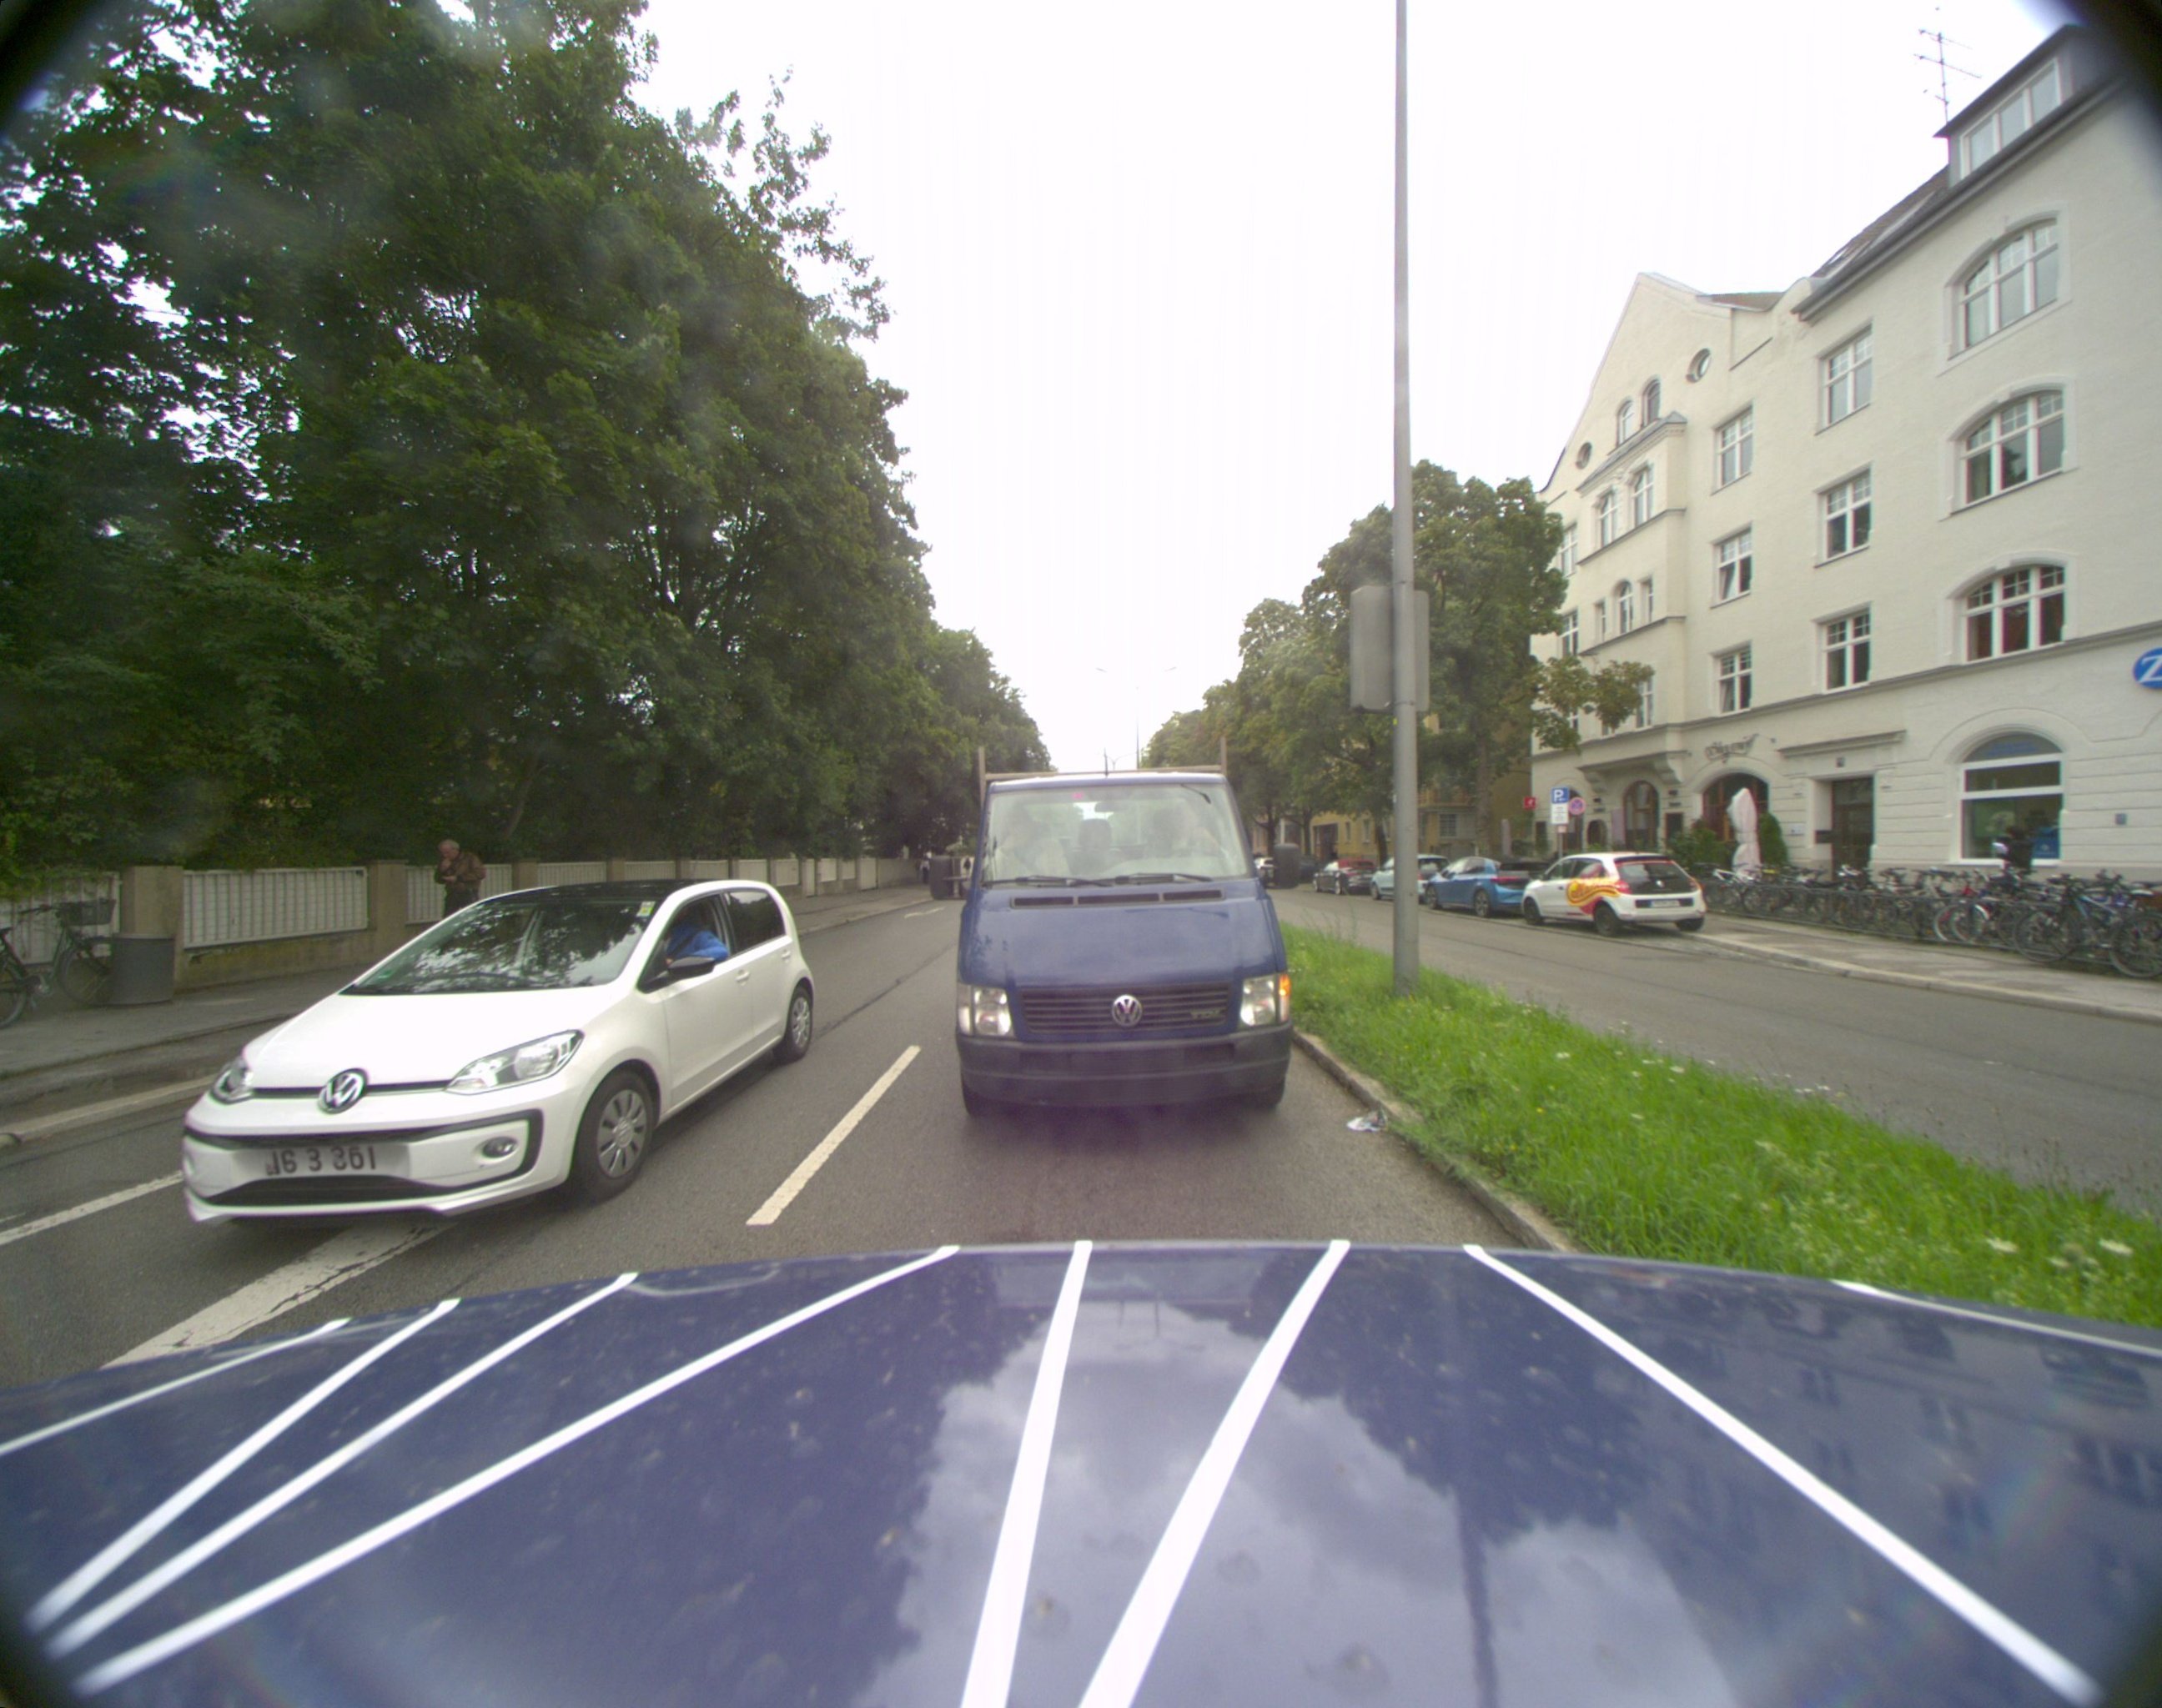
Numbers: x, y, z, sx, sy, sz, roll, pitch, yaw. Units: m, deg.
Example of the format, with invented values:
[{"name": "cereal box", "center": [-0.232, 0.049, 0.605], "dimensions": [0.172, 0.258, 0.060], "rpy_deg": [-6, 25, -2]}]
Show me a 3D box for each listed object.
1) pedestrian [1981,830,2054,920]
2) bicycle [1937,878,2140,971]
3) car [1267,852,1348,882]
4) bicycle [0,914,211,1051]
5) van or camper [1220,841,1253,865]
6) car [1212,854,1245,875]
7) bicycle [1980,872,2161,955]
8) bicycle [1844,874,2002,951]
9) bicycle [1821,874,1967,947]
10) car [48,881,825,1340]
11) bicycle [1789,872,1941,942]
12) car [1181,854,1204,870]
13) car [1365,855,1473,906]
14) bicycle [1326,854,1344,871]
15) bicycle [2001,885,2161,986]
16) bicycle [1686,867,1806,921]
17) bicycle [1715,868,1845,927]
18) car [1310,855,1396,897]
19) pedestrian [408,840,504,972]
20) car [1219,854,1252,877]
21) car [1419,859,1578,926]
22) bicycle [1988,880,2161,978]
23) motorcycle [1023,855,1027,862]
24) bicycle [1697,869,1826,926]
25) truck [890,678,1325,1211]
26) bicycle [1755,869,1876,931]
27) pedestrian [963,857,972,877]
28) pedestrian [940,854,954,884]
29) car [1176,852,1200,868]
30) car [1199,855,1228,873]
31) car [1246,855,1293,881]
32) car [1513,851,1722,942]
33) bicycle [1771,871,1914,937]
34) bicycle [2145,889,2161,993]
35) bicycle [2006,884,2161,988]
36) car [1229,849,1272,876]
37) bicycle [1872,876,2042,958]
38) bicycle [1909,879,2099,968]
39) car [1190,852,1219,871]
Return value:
[{"name": "pedestrian", "center": [17.291, 0.376, 14.050], "dimensions": [0.422, 1.622, 0.783], "rpy_deg": [-1, 1, 7]}, {"name": "bicycle", "center": [12.841, 0.897, 10.262], "dimensions": [0.331, 1.109, 1.678], "rpy_deg": [-1, 0, -23]}, {"name": "car", "center": [12.287, 0.712, 41.365], "dimensions": [3.899, 1.455, 1.732], "rpy_deg": [-2, 0, -1]}, {"name": "bicycle", "center": [-9.848, 1.201, 7.296], "dimensions": [0.624, 1.084, 2.026], "rpy_deg": [-1, 0, 0]}, {"name": "van or camper", "center": [17.240, -0.149, 84.788], "dimensions": [2.351, 2.564, 6.851], "rpy_deg": [-1, 0, 1]}, {"name": "car", "center": [11.389, 0.769, 58.906], "dimensions": [1.731, 1.552, 4.057], "rpy_deg": [-1, 0, 1]}, {"name": "bicycle", "center": [14.770, 0.848, 11.365], "dimensions": [0.331, 1.109, 1.678], "rpy_deg": [-1, 0, -23]}, {"name": "bicycle", "center": [13.446, 0.903, 12.199], "dimensions": [0.331, 1.109, 1.678], "rpy_deg": [-1, 0, -23]}, {"name": "bicycle", "center": [13.642, 0.917, 12.815], "dimensions": [0.331, 1.109, 1.678], "rpy_deg": [-1, 0, -23]}, {"name": "car", "center": [-2.997, 1.020, 4.625], "dimensions": [1.647, 1.553, 3.586], "rpy_deg": [-1, 0, 0]}, {"name": "bicycle", "center": [13.820, 0.903, 13.470], "dimensions": [0.331, 1.109, 1.871], "rpy_deg": [-1, 0, -23]}, {"name": "car", "center": [11.100, 0.753, 75.721], "dimensions": [1.696, 1.446, 4.492], "rpy_deg": [-1, 0, 1]}, {"name": "car", "center": [10.896, 0.795, 24.818], "dimensions": [1.815, 1.498, 3.960], "rpy_deg": [-1, 0, 1]}, {"name": "bicycle", "center": [19.330, 0.643, 57.889], "dimensions": [0.771, 1.215, 1.930], "rpy_deg": [-1, 0, 0]}, {"name": "bicycle", "center": [12.405, 0.955, 9.144], "dimensions": [0.331, 1.109, 1.678], "rpy_deg": [-1, 0, -23]}, {"name": "bicycle", "center": [14.688, 0.857, 16.848], "dimensions": [0.460, 1.109, 1.961], "rpy_deg": [-1, 0, -31]}, {"name": "bicycle", "center": [14.262, 0.852, 15.557], "dimensions": [0.550, 1.109, 1.877], "rpy_deg": [-1, 0, -31]}, {"name": "car", "center": [10.762, 0.835, 30.459], "dimensions": [1.815, 1.498, 4.645], "rpy_deg": [-1, 0, 1]}, {"name": "pedestrian", "center": [-9.402, 0.757, 11.460], "dimensions": [0.779, 1.931, 0.802], "rpy_deg": [0, 1, 1]}, {"name": "car", "center": [11.156, 0.800, 54.960], "dimensions": [1.731, 1.549, 3.009], "rpy_deg": [-1, 0, -1]}, {"name": "car", "center": [10.706, 0.908, 19.888], "dimensions": [1.815, 1.498, 4.291], "rpy_deg": [-1, 0, 1]}, {"name": "bicycle", "center": [12.689, 0.907, 9.509], "dimensions": [0.367, 1.109, 1.678], "rpy_deg": [-1, 0, -23]}, {"name": "motorcycle", "center": [-8.920, 0.736, 121.528], "dimensions": [0.497, 1.135, 1.631], "rpy_deg": [-1, 0, -10]}, {"name": "bicycle", "center": [14.465, 0.889, 16.212], "dimensions": [0.505, 1.109, 1.984], "rpy_deg": [-1, 0, -31]}, {"name": "truck", "center": [0.166, 0.424, 6.136], "dimensions": [1.998, 2.475, 5.151], "rpy_deg": [-1, 0, 1]}, {"name": "bicycle", "center": [14.211, 0.868, 14.751], "dimensions": [0.331, 1.109, 1.677], "rpy_deg": [-1, 0, -27]}, {"name": "pedestrian", "center": [-9.039, 1.050, 60.501], "dimensions": [0.529, 1.572, 0.729], "rpy_deg": [1, 1, 0]}, {"name": "pedestrian", "center": [-7.702, 0.839, 43.694], "dimensions": [0.668, 1.695, 0.766], "rpy_deg": [1, 1, 0]}, {"name": "car", "center": [11.351, 0.636, 80.906], "dimensions": [1.878, 1.677, 4.438], "rpy_deg": [-1, 0, 1]}, {"name": "car", "center": [11.114, 0.792, 63.900], "dimensions": [1.731, 1.398, 4.363], "rpy_deg": [-1, 0, 1]}, {"name": "car", "center": [11.071, 0.798, 44.889], "dimensions": [1.731, 1.394, 4.404], "rpy_deg": [-1, 0, 1]}, {"name": "car", "center": [10.569, 0.751, 15.332], "dimensions": [1.653, 1.576, 3.790], "rpy_deg": [-1, 0, 2]}, {"name": "bicycle", "center": [14.007, 0.886, 14.049], "dimensions": [0.331, 1.109, 1.871], "rpy_deg": [-1, 0, -23]}, {"name": "bicycle", "center": [12.096, 0.945, 7.590], "dimensions": [0.331, 1.109, 1.678], "rpy_deg": [-1, 0, -23]}, {"name": "bicycle", "center": [12.105, 0.937, 8.837], "dimensions": [0.368, 1.109, 1.678], "rpy_deg": [-1, 0, -23]}, {"name": "car", "center": [11.202, 0.531, 50.589], "dimensions": [1.815, 1.718, 4.767], "rpy_deg": [-1, 0, 1]}, {"name": "bicycle", "center": [13.216, 0.918, 11.533], "dimensions": [0.331, 1.109, 1.678], "rpy_deg": [-1, 0, -23]}, {"name": "bicycle", "center": [13.035, 0.934, 10.798], "dimensions": [0.383, 1.109, 1.678], "rpy_deg": [-1, 0, -23]}, {"name": "car", "center": [11.286, 0.680, 69.759], "dimensions": [1.883, 1.636, 4.770], "rpy_deg": [-1, 0, 1]}]
